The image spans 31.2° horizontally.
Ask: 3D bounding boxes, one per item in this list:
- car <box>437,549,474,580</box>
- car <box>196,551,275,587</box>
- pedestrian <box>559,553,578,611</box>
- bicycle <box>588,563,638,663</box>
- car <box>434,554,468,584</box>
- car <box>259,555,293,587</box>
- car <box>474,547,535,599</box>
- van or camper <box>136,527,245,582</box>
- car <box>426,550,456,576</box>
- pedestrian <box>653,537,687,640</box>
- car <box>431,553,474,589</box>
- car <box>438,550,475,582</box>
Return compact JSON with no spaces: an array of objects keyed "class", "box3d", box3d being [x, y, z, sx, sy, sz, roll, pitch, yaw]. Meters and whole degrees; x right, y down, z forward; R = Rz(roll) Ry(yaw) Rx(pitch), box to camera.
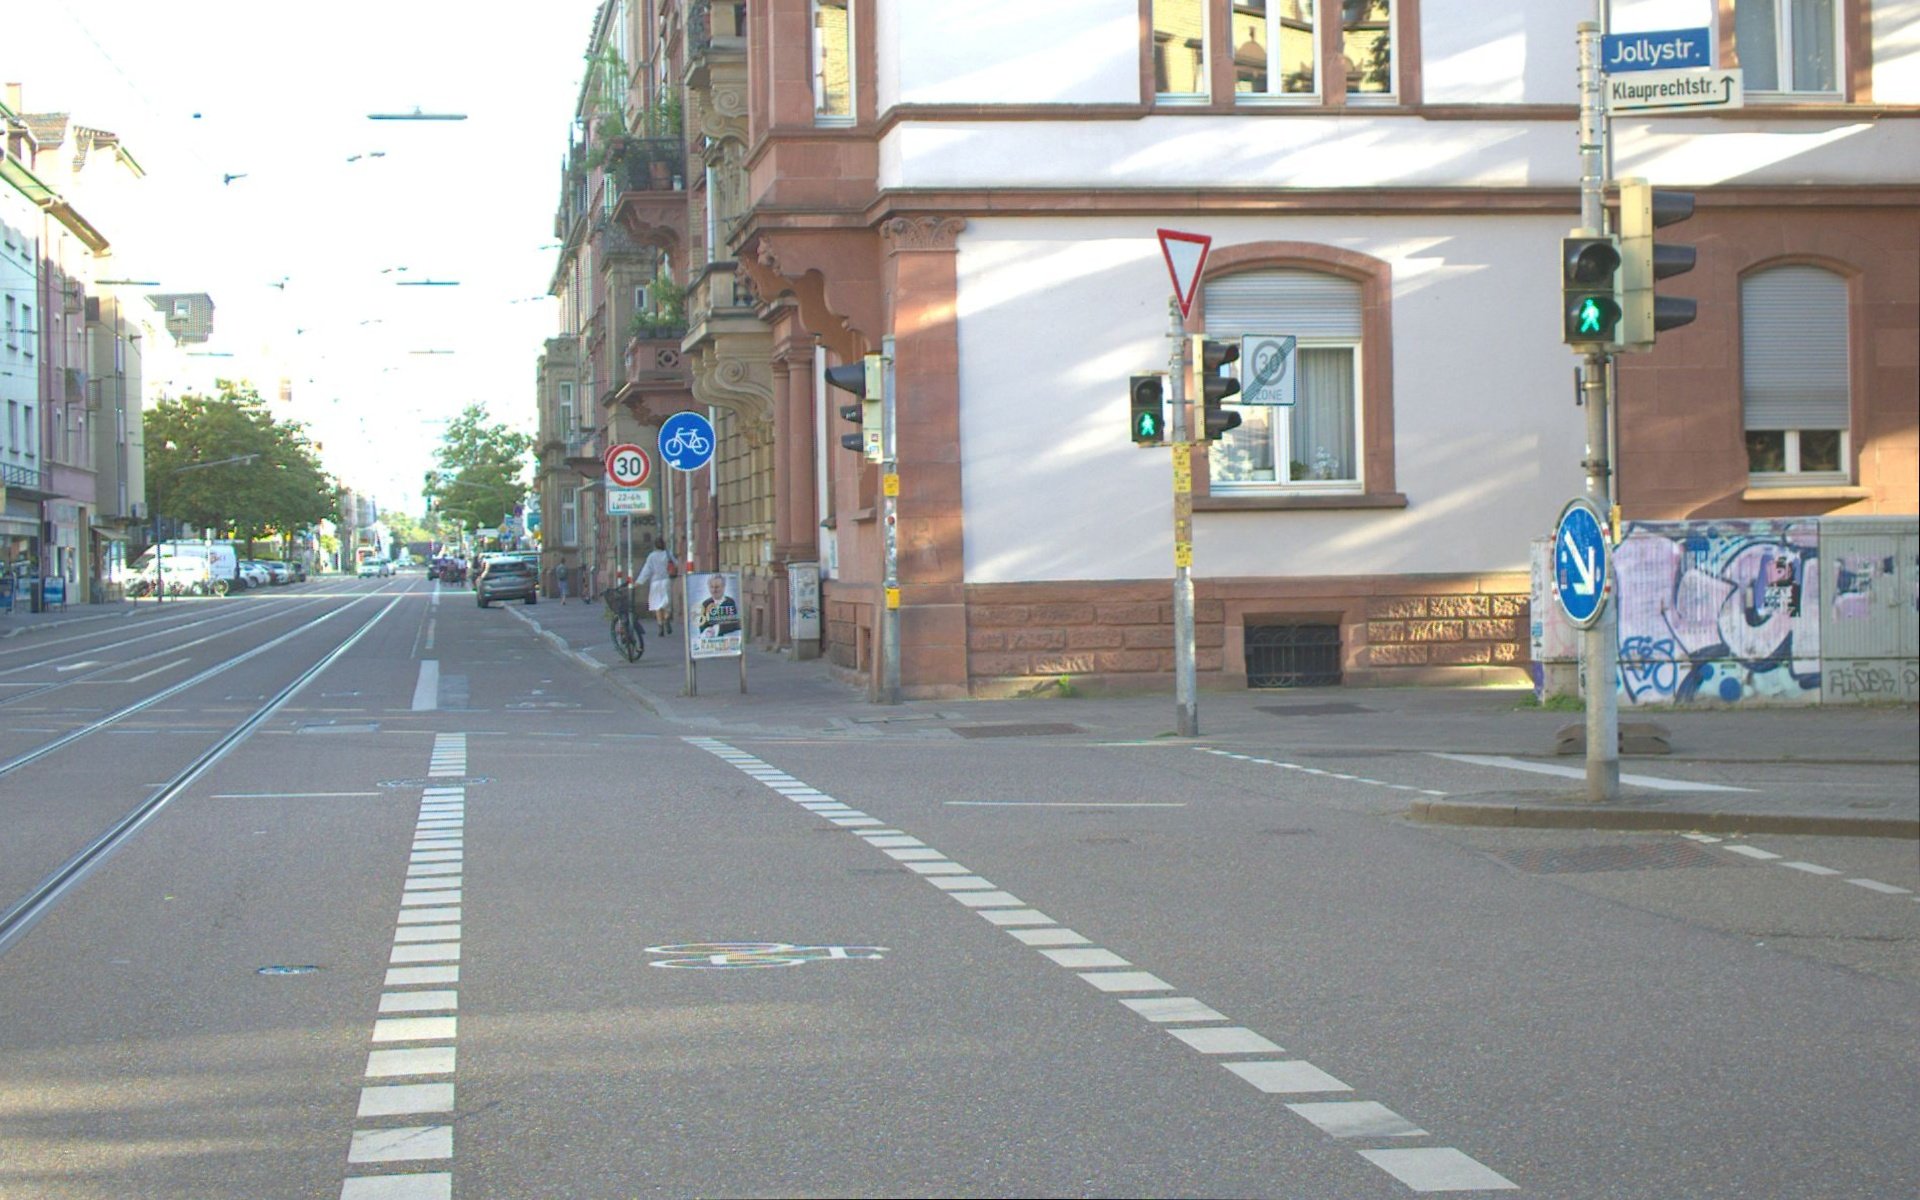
[{"class":"car","box3d":[-28.588,-1.984,194.801,1.993,1.722,4.001,0,0,-9]},{"class":"car","box3d":[-41.703,-1.776,197.935,3.987,2.007,2.000,-1,1,-33]},{"class":"pedestrian","box3d":[-12.154,-0.554,106.679,0.544,1.774,0.749,-1,1,-7]},{"class":"bicycle","box3d":[-4.732,0.160,46.843,0.653,1.319,2.177,-1,1,-6]},{"class":"car","box3d":[-30.172,-1.835,203.757,1.993,1.722,4.001,0,0,-9]},{"class":"car","box3d":[-44.603,-1.893,224.322,1.993,2.007,4.001,-1,1,-9]},{"class":"car","box3d":[-15.279,-0.915,115.405,1.949,1.678,4.001,-1,1,-7]},{"class":"van or camper","box3d":[-36.524,-2.150,163.140,4.636,2.554,1.999,-1,0,-39]},{"class":"car","box3d":[-35.701,-2.535,236.368,1.993,1.722,4.001,0,0,-9]},{"class":"pedestrian","box3d":[-5.042,-0.197,59.805,0.544,1.774,0.504,-1,1,-7]},{"class":"car","box3d":[-24.352,-1.386,164.976,1.993,1.722,4.001,0,0,-9]},{"class":"car","box3d":[-27.809,-1.860,189.733,1.993,1.722,4.001,0,0,-9]}]
